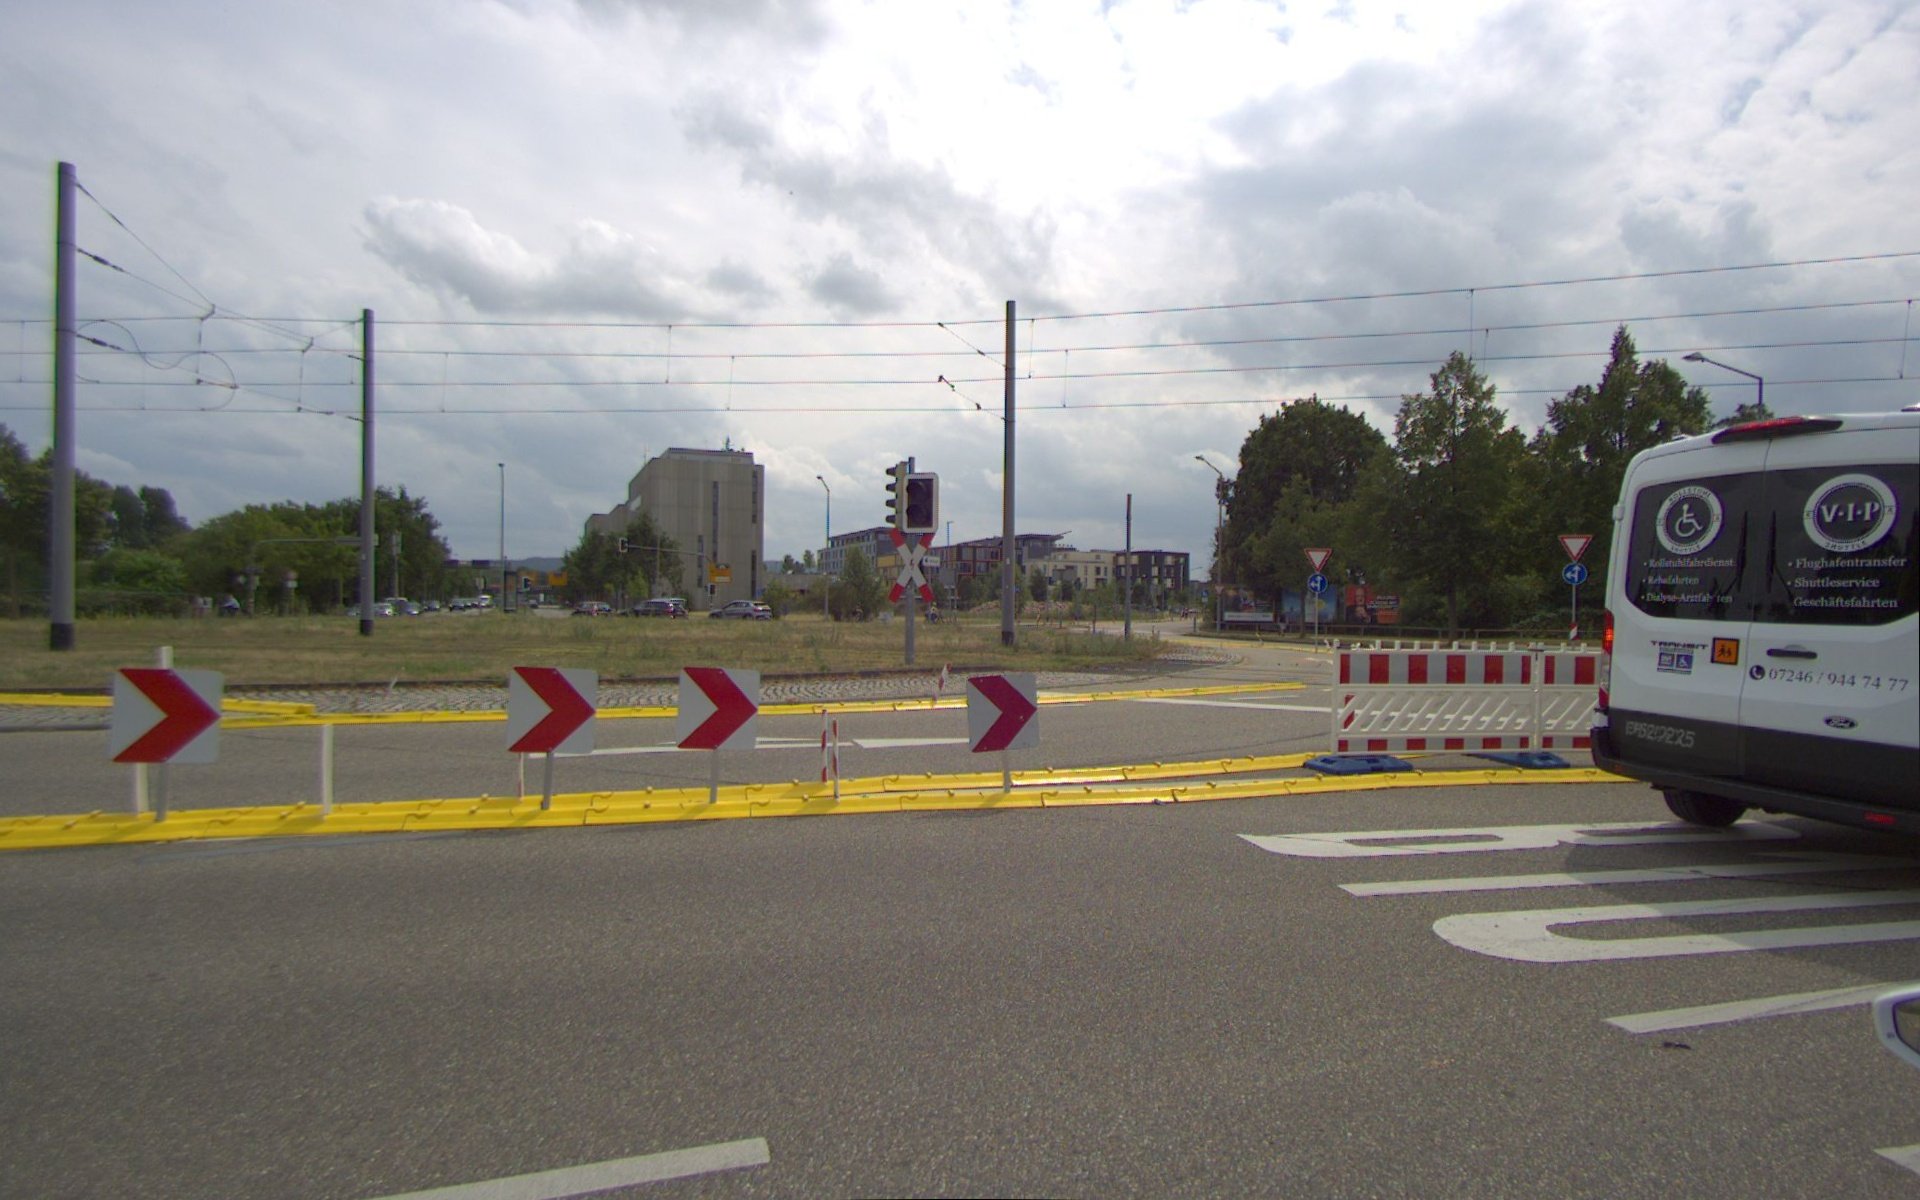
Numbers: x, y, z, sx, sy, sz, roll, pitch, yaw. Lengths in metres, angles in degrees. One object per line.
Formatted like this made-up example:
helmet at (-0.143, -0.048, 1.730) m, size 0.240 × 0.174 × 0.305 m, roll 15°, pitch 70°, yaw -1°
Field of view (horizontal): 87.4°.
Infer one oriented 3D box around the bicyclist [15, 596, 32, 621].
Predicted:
bicyclist at (-53.401, 0.465, 57.275) m, size 0.669 × 1.428 × 0.854 m, roll 0°, pitch 0°, yaw -41°

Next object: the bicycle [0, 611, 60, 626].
bicycle at (-53.249, 1.050, 57.444) m, size 2.638 × 0.866 × 0.853 m, roll 1°, pitch 0°, yaw -42°

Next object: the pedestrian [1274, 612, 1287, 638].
pedestrian at (19.977, 1.566, 62.612) m, size 0.664 × 1.615 × 0.445 m, roll 1°, pitch 0°, yaw -31°

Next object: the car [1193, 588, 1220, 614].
car at (20.658, 0.111, 84.451) m, size 1.959 × 2.040 × 4.003 m, roll 2°, pitch -1°, yaw 11°

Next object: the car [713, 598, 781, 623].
car at (-13.508, 0.660, 63.752) m, size 3.926 × 1.483 × 1.831 m, roll 1°, pitch -1°, yaw 27°

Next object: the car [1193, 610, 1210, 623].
car at (36.337, 2.471, 151.171) m, size 1.960 × 1.873 × 4.001 m, roll 2°, pitch -1°, yaw 19°

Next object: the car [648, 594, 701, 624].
car at (-20.040, 0.591, 70.371) m, size 1.984 × 2.040 × 4.310 m, roll 1°, pitch 0°, yaw -41°

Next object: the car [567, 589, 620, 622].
car at (-24.125, 0.345, 66.067) m, size 1.985 × 2.040 × 3.952 m, roll 3°, pitch -1°, yaw -41°

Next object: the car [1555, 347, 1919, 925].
car at (6.845, 0.211, 6.536) m, size 5.547 × 2.733 × 2.123 m, roll 1°, pitch 0°, yaw -21°
